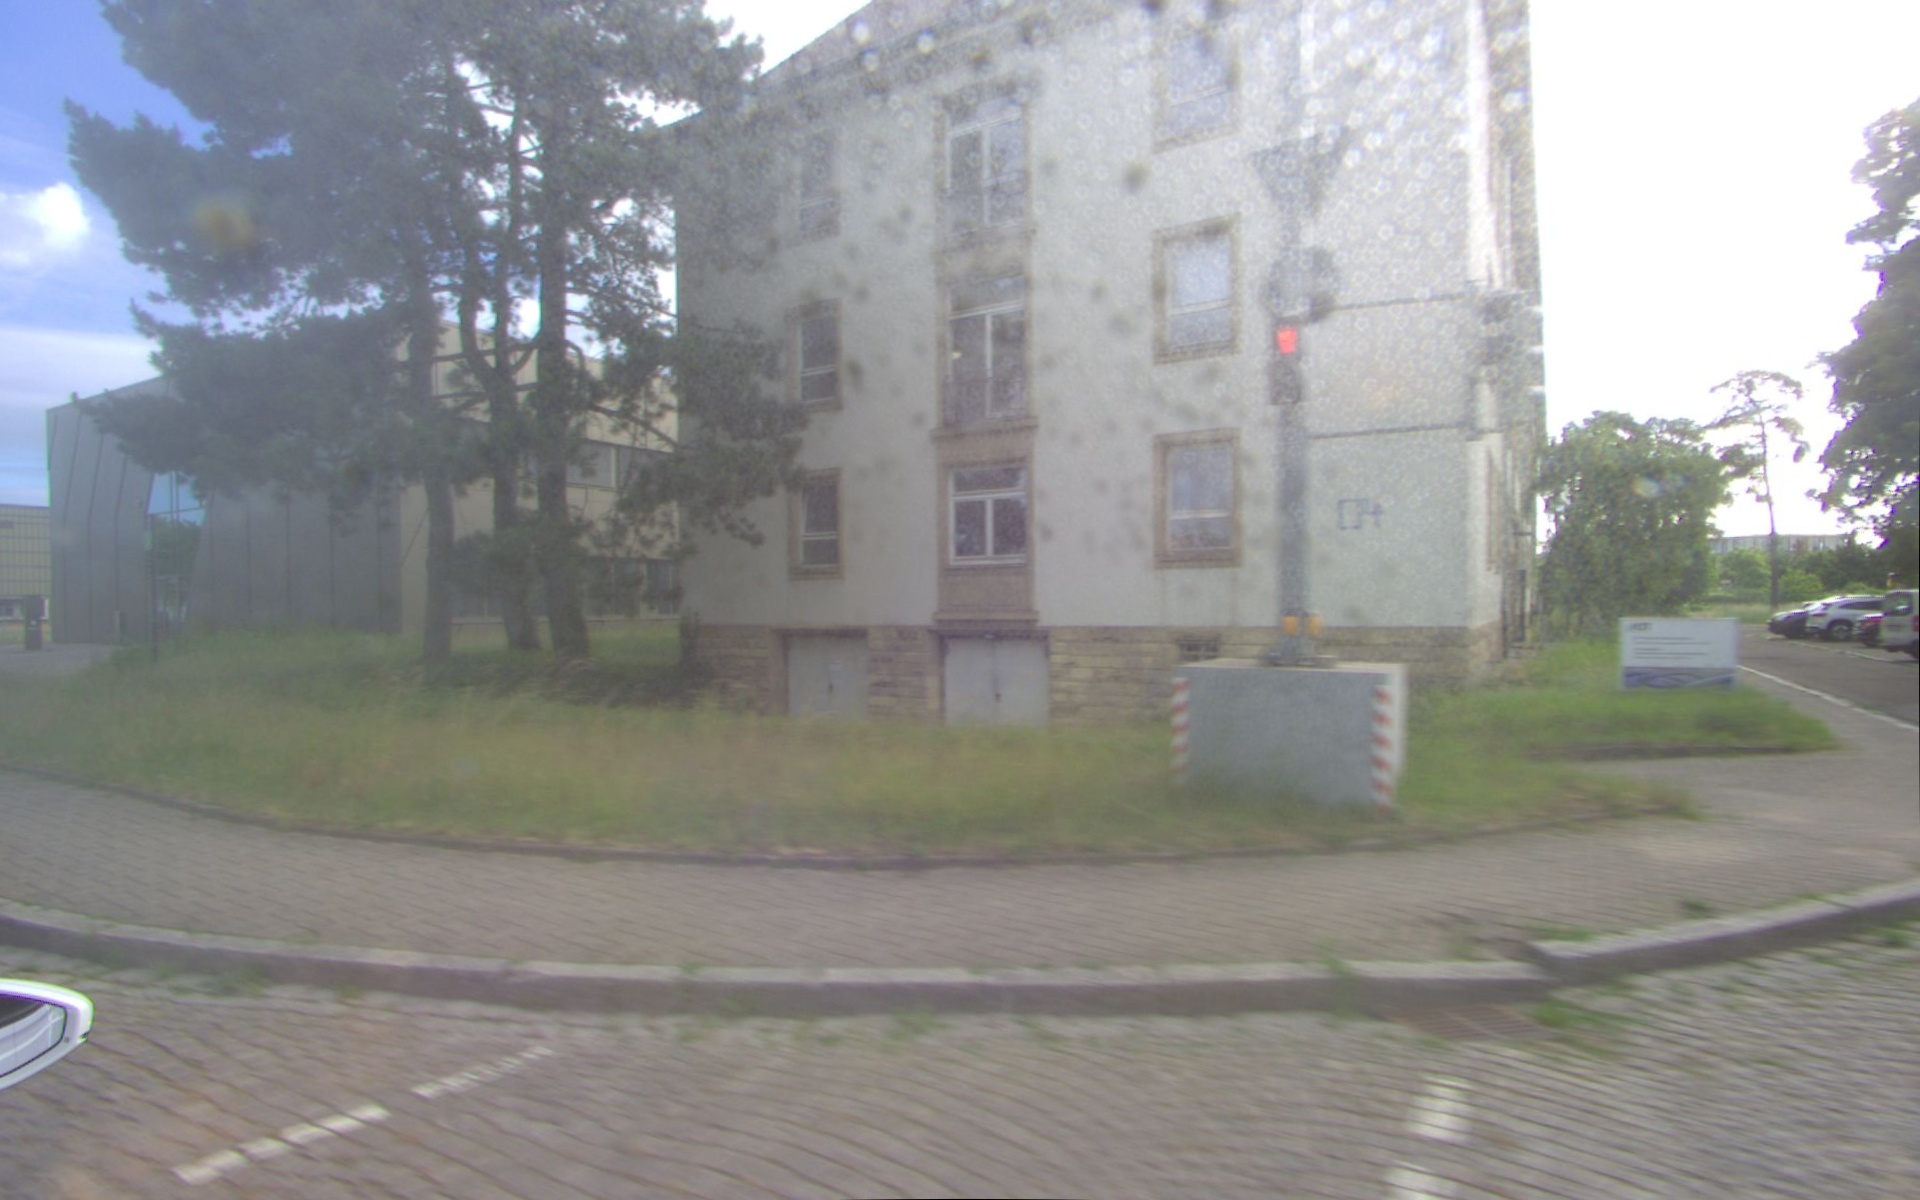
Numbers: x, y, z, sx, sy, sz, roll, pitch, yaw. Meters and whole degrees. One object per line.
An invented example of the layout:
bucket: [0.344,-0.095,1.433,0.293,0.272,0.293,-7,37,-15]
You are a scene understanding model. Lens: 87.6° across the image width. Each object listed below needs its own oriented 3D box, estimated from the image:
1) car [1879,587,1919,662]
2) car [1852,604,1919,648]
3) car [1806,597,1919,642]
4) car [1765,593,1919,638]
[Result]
car: [26.783,0.607,25.205,5.043,1.910,1.990,-1,0,31]
car: [31.946,0.832,32.476,4.186,1.434,1.687,0,0,29]
car: [34.519,0.706,37.225,4.398,1.613,1.771,0,0,29]
car: [35.420,0.617,40.382,4.323,1.740,1.990,-1,0,31]
